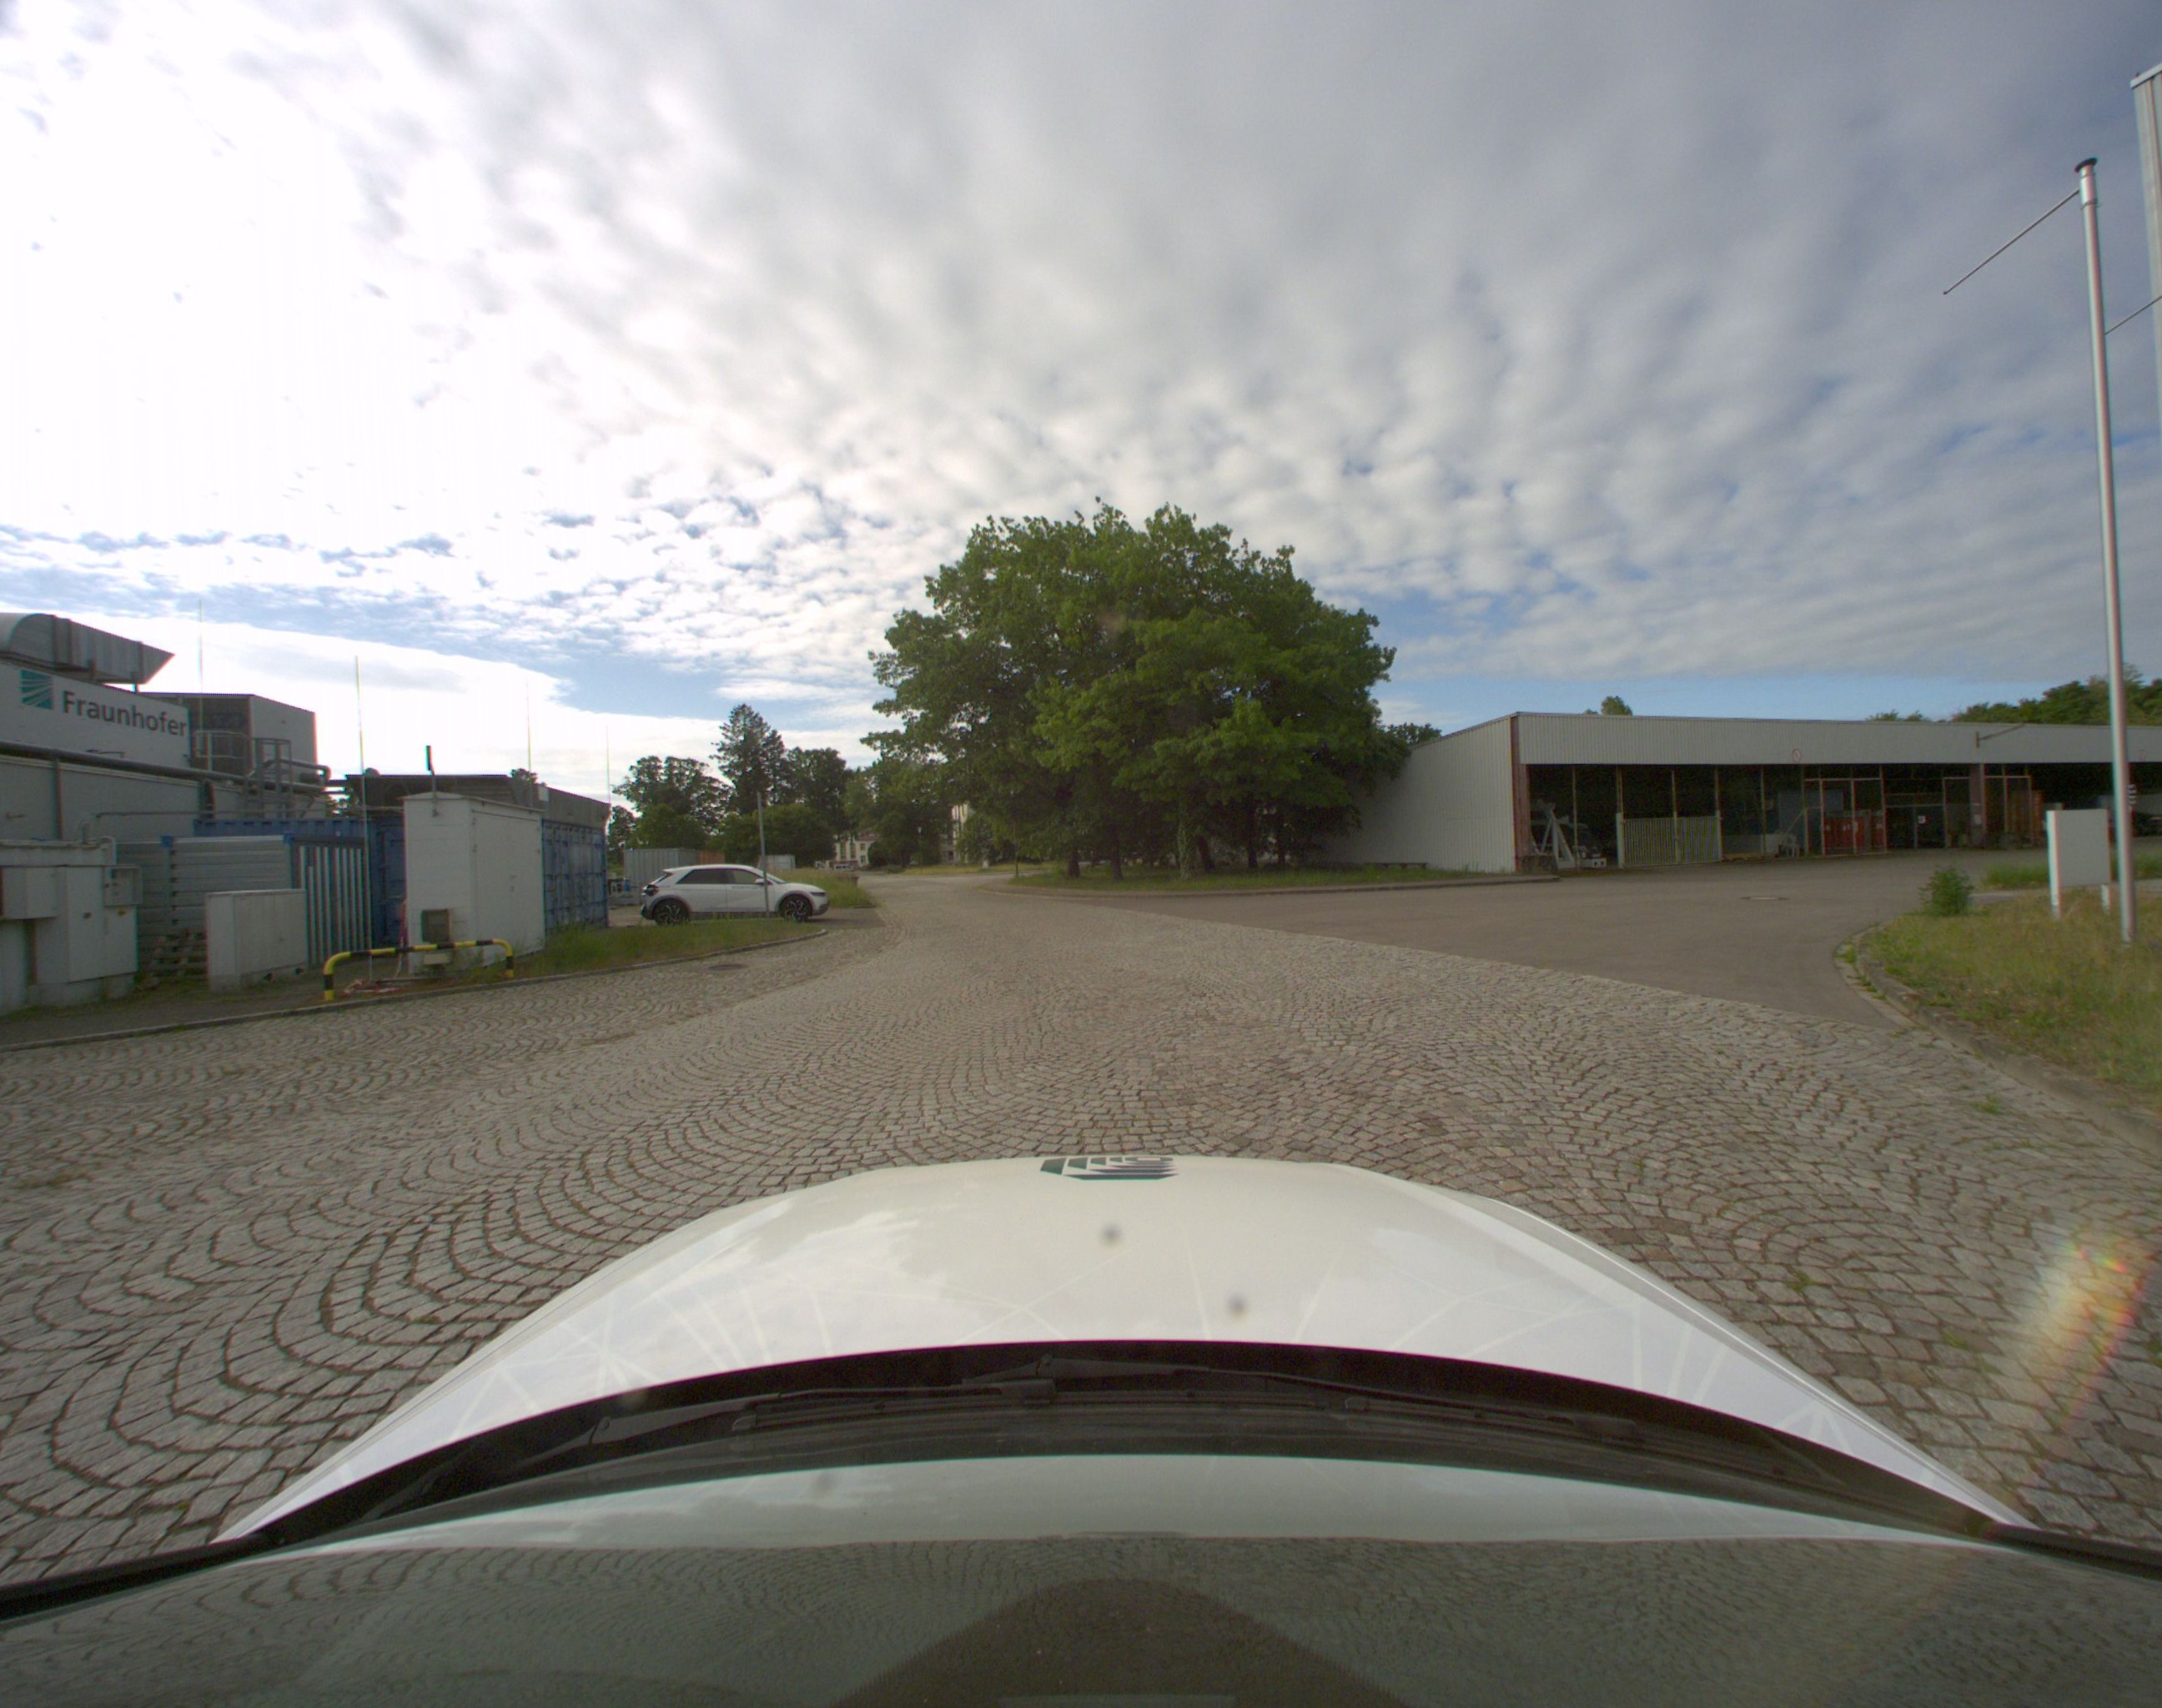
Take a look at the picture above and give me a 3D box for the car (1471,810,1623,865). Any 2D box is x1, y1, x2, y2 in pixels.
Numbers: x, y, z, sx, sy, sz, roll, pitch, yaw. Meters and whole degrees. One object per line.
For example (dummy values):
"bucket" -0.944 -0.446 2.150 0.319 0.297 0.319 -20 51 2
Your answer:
"car" 19.107 -0.595 33.752 2.248 2.013 5.303 -3 0 -18

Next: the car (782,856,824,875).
"car" -37.065 1.540 108.834 5.185 2.337 1.988 -3 0 -18

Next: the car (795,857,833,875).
"car" -38.728 1.712 118.281 5.185 2.337 1.988 -3 0 -18

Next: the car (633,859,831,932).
"car" -9.113 1.046 21.724 4.542 1.599 1.990 -3 0 -15
